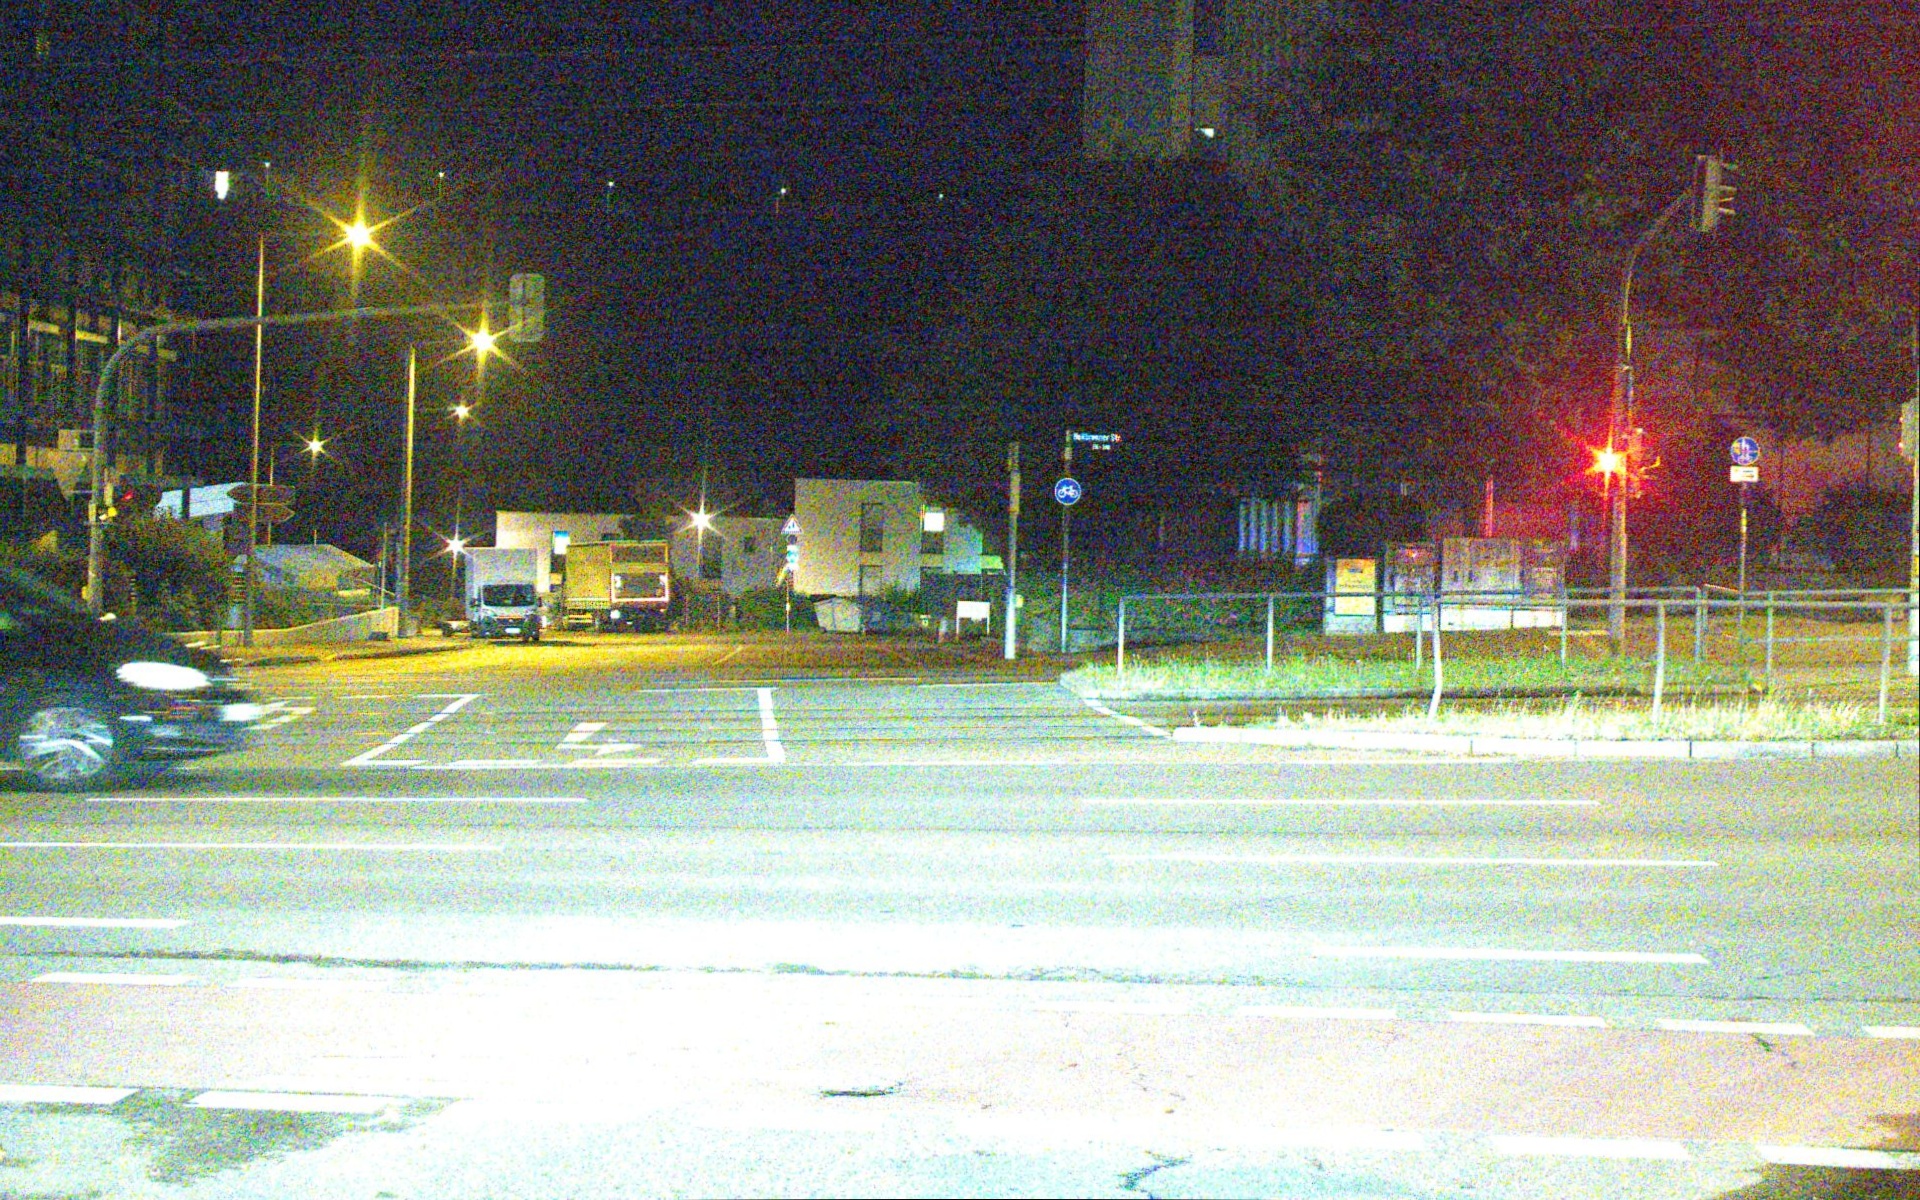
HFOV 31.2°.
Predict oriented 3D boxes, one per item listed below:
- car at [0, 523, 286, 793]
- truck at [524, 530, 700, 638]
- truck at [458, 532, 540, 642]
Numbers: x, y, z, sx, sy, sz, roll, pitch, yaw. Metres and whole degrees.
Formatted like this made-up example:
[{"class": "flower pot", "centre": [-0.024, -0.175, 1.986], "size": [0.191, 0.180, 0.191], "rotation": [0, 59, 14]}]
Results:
[{"class": "car", "centre": [-6.767, 0.350, 22.096], "size": [4.446, 1.654, 1.864], "rotation": [0, 1, 3]}, {"class": "truck", "centre": [-15.456, -0.753, 151.231], "size": [4.821, 4.531, 12.669], "rotation": [1, 1, -19]}, {"class": "truck", "centre": [-16.011, -0.463, 119.175], "size": [2.582, 3.694, 5.739], "rotation": [1, 1, -9]}]
